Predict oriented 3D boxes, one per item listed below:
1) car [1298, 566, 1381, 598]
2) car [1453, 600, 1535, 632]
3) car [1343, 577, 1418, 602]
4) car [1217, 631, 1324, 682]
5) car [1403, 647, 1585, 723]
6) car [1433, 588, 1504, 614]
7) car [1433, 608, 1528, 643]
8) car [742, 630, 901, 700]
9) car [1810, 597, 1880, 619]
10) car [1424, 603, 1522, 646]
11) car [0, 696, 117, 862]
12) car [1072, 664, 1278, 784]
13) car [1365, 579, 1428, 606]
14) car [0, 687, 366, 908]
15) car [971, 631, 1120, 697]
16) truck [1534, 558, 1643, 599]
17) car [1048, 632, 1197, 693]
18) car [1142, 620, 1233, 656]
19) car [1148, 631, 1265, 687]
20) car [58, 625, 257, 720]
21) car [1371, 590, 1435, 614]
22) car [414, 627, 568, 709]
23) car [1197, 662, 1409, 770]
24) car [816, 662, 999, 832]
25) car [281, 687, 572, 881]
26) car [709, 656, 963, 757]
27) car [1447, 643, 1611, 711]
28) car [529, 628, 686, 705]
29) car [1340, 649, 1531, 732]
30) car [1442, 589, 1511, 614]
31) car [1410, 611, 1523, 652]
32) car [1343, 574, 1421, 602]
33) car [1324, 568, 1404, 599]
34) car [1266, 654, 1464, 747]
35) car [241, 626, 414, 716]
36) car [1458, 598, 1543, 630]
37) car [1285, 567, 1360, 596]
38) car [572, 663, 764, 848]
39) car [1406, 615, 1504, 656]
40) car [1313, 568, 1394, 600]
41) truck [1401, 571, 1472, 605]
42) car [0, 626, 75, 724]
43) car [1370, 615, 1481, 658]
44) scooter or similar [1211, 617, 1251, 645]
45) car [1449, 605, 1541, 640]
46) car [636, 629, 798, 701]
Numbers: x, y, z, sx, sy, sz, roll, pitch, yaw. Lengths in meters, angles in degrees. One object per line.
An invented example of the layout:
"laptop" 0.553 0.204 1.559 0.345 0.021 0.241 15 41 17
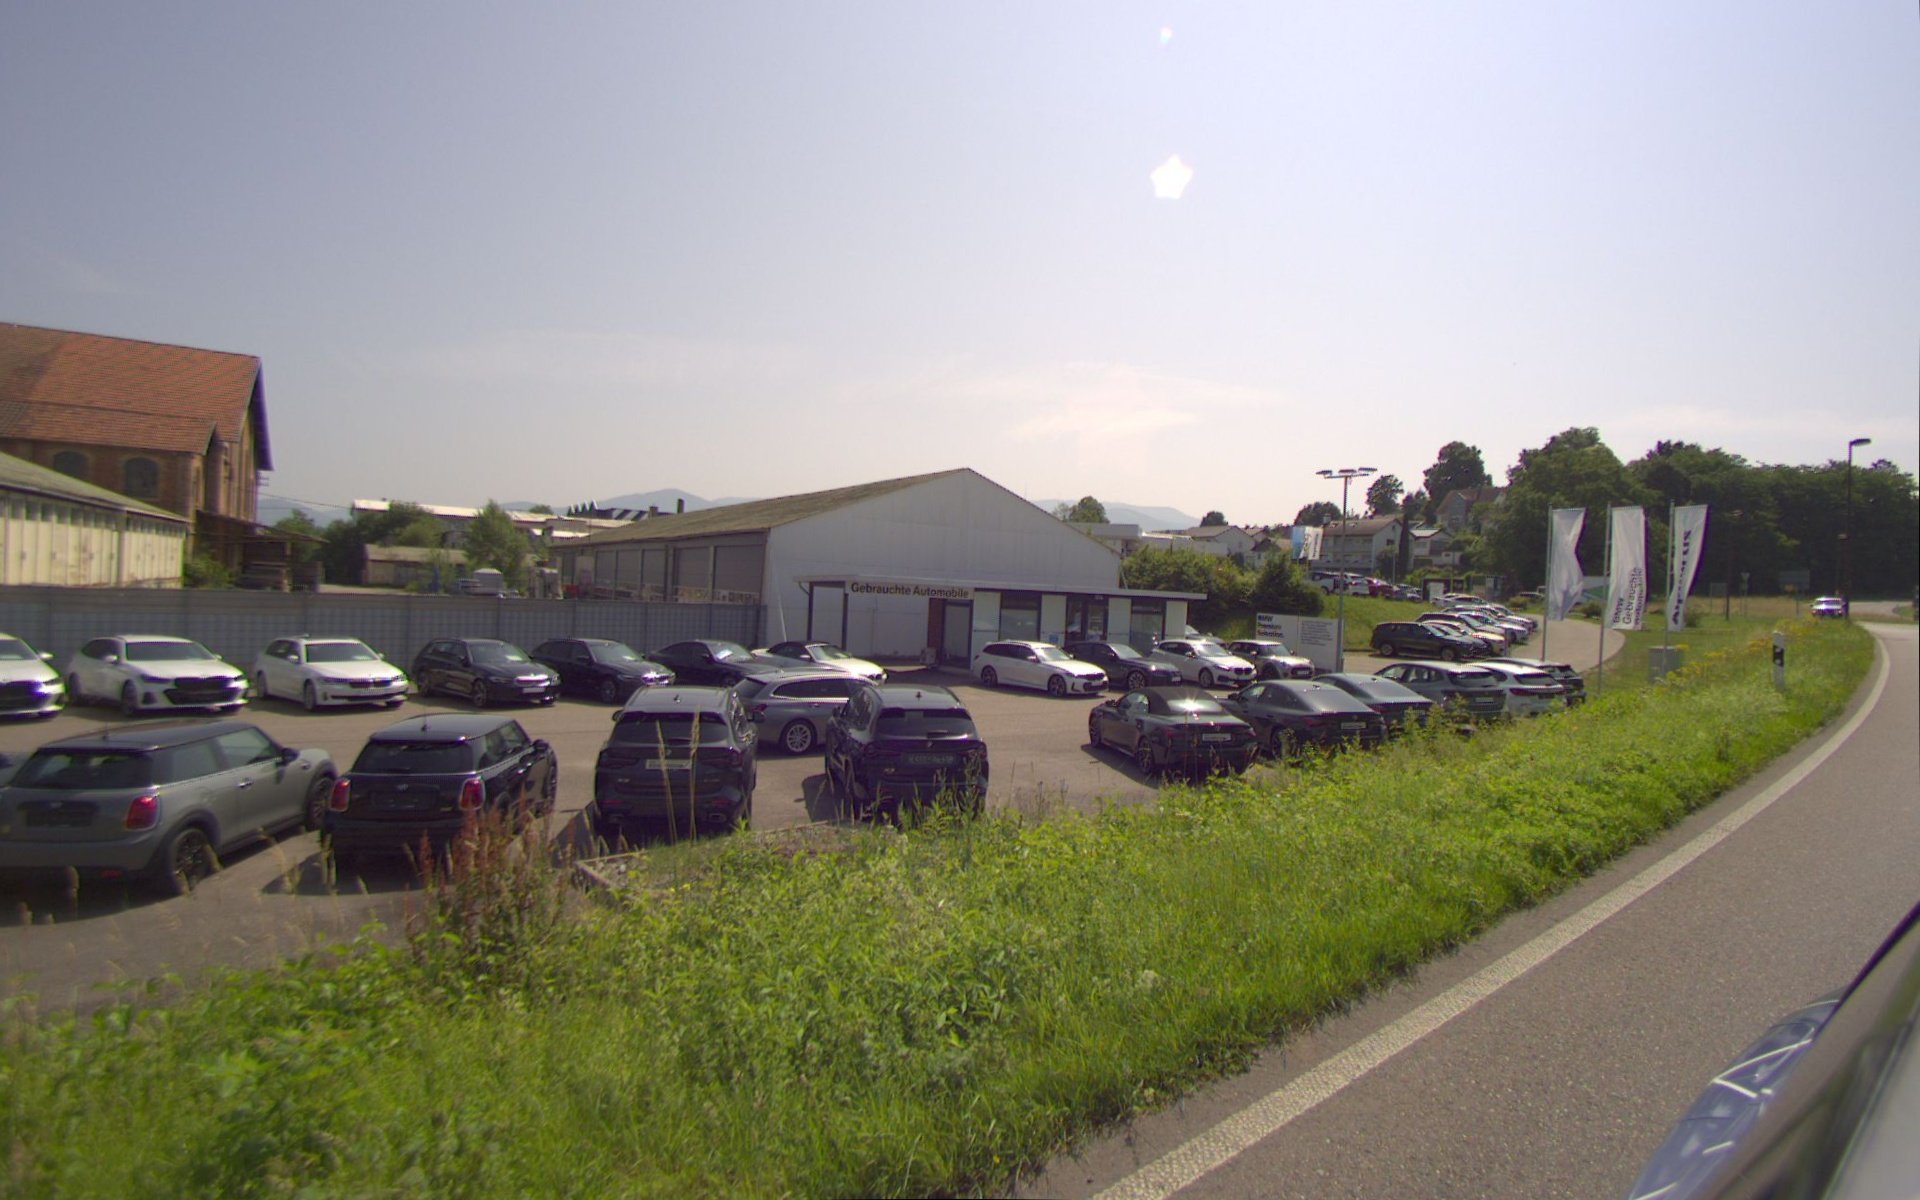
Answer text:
"car" 22.976 -1.108 61.402 1.803 1.768 4.472 1 2 -33
"car" 32.268 0.913 61.205 4.227 1.499 1.904 4 5 30
"car" 29.077 -0.737 70.175 1.911 1.518 4.472 2 2 -33
"car" 10.976 1.953 36.022 1.714 1.542 3.812 0 1 -19
"car" 13.706 2.126 26.273 1.714 1.542 4.181 0 1 -17
"car" 39.844 0.074 79.394 4.606 1.589 1.758 5 2 18
"car" 28.190 1.340 54.867 4.242 1.482 1.848 4 5 39
"car" -4.052 1.801 29.185 4.596 1.542 1.906 2 2 39
"car" 70.516 0.634 80.630 5.895 1.673 2.201 1 0 -28
"car" 26.857 1.238 53.061 4.242 1.769 1.973 5 5 39
"car" -10.418 1.863 9.564 1.738 1.460 4.040 3 0 -5
"car" 3.784 2.152 18.762 1.817 1.542 4.653 0 1 -15
"car" 33.567 -0.568 77.956 1.911 1.771 4.013 2 3 -33
"car" -8.249 1.903 10.895 1.793 1.512 4.157 1 0 -9
"car" 2.518 1.872 30.730 1.898 1.542 4.434 0 2 -41
"truck" 62.530 -2.163 100.833 8.975 3.877 2.861 1 1 38
"car" 5.121 1.930 32.347 4.427 1.542 1.901 3 2 44
"car" 10.222 1.662 45.738 1.686 1.393 3.952 0 1 -34
"car" 8.269 1.945 34.329 1.715 1.542 3.978 0 2 -25
"car" -16.686 1.406 20.978 4.581 1.542 1.888 2 0 34
"car" 32.577 0.099 74.496 1.909 1.545 4.016 2 1 -27
"car" -11.244 1.545 24.171 3.990 1.542 1.734 2 2 39
"car" 6.559 2.155 19.884 1.817 1.542 4.181 0 1 -17
"car" -0.948 1.962 14.757 1.817 1.722 4.653 3 0 -13
"car" -5.961 1.978 11.905 1.739 1.460 4.157 3 0 -9
"car" -2.382 1.975 19.786 4.444 1.475 2.143 0 1 -33
"car" 15.997 2.104 28.712 1.655 1.542 4.181 0 1 -13
"car" -9.083 1.635 25.936 4.305 1.542 1.772 2 2 39
"car" 11.384 2.097 24.567 1.817 1.542 4.181 0 1 -18
"car" 39.116 0.062 76.751 4.528 1.589 1.754 3 3 24
"car" 25.477 1.533 50.952 4.760 1.526 1.973 5 5 39
"car" 28.078 -0.829 67.397 1.911 1.655 4.472 1 2 -33
"car" 26.021 -1.084 65.304 1.911 1.768 4.472 1 2 -33
"car" 8.764 2.112 22.318 1.817 1.542 4.181 0 1 -17
"car" -14.329 1.500 22.818 4.638 1.542 1.885 2 2 39
"car" 33.693 0.840 63.116 4.535 1.584 1.904 4 5 30
"car" 21.192 -1.108 59.300 1.733 1.551 3.891 1 2 -33
"car" -3.661 1.881 13.407 1.879 1.722 4.243 3 0 -9
"car" 23.886 1.662 48.885 3.974 1.570 1.976 3 4 35
"car" 24.606 -1.028 63.409 1.803 1.768 4.472 1 2 -33
"truck" 41.999 -1.089 89.333 1.909 2.698 5.637 2 1 -27
"car" -18.726 1.361 19.149 4.307 1.542 1.888 2 0 33
"car" 21.776 1.674 47.405 4.465 1.660 2.122 2 3 35
"scooter or similar" 14.076 1.606 52.651 1.974 1.330 0.613 1 1 43
"car" 29.869 1.233 56.494 4.400 1.482 1.903 4 5 31
"car" -6.716 1.701 27.708 4.596 1.542 1.906 2 2 39
